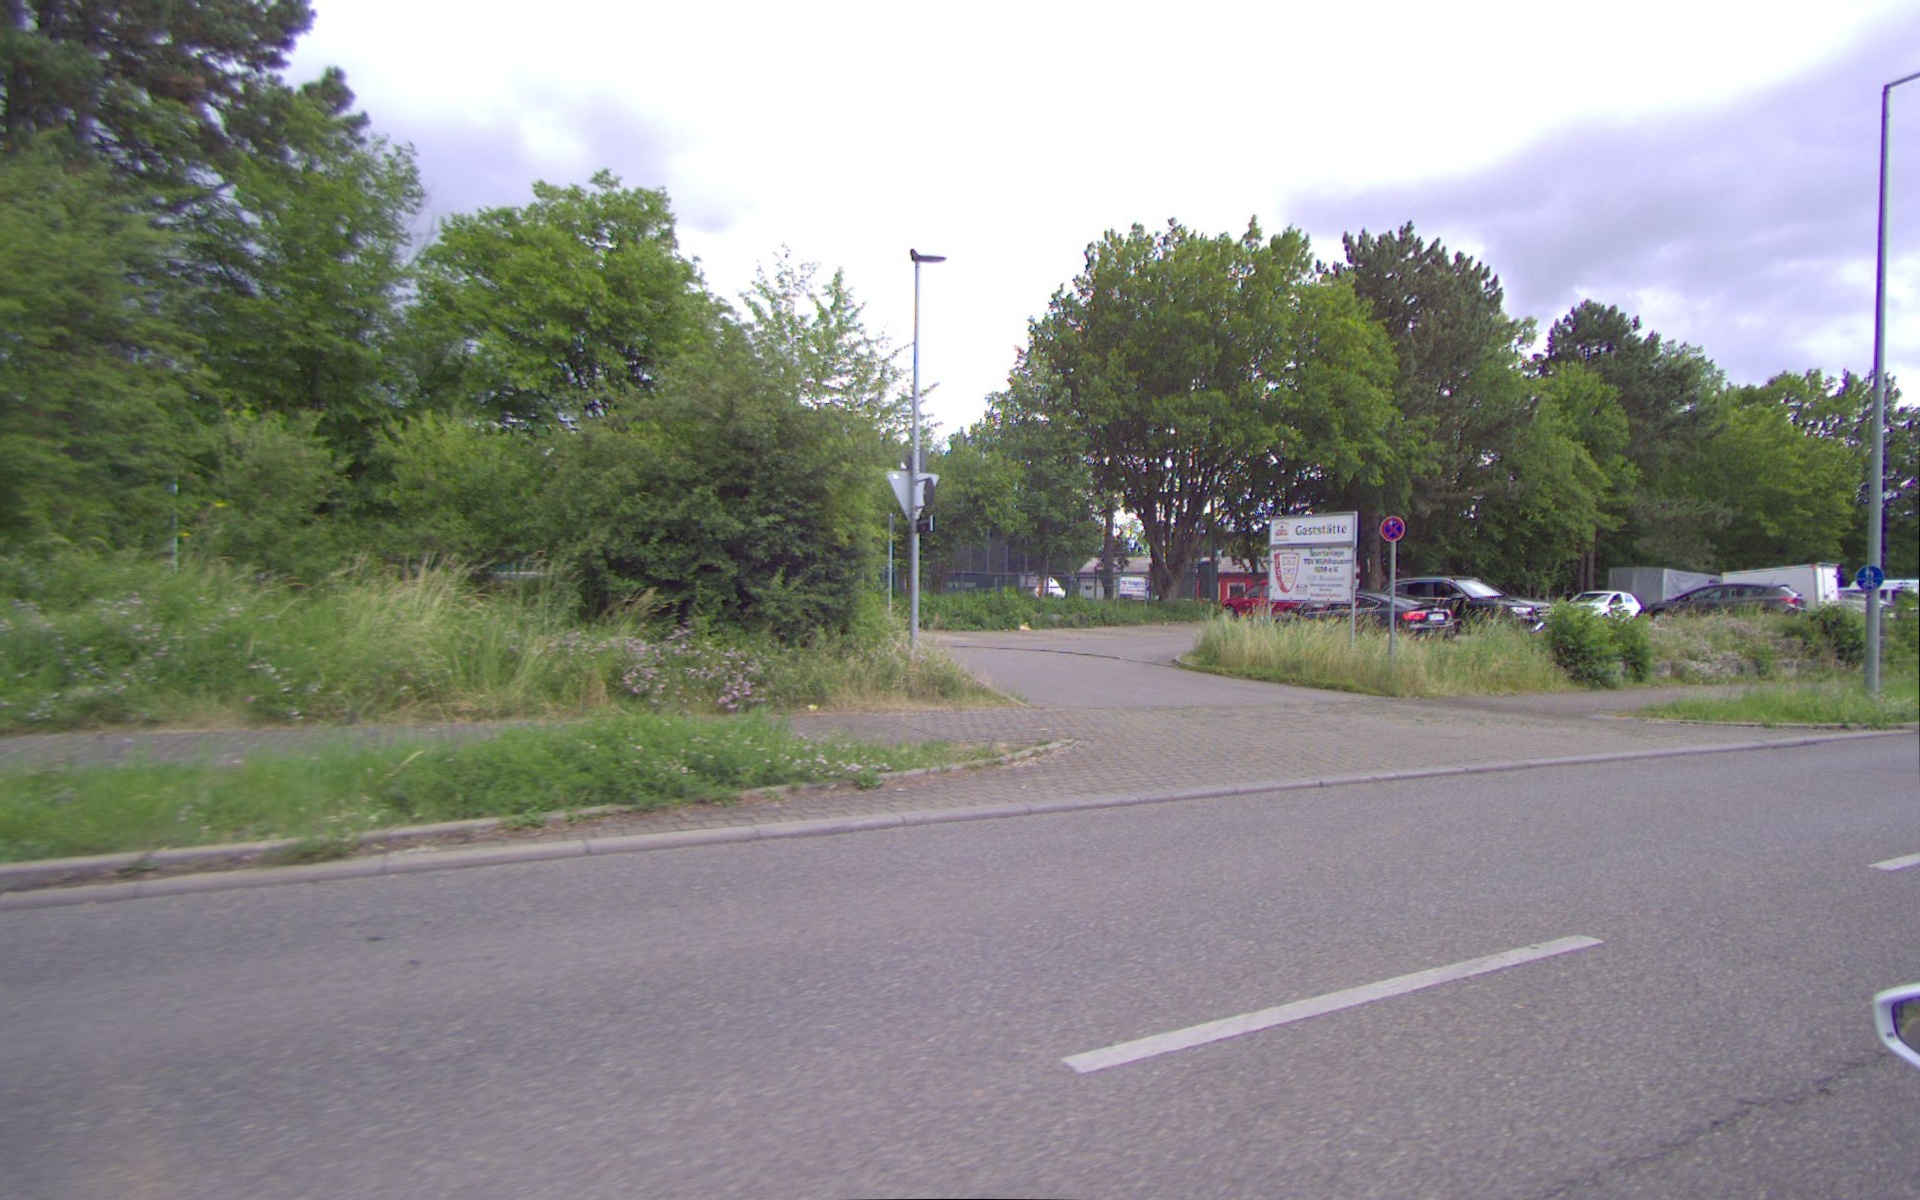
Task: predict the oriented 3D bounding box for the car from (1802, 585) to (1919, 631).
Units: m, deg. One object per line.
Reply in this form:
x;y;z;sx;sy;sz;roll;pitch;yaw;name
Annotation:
35.677;0.302;38.627;1.973;1.678;4.628;1;0;-25;car

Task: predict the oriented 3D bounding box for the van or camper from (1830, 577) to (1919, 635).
38.029;0.240;39.582;1.978;2.232;5.303;1;1;-32;van or camper

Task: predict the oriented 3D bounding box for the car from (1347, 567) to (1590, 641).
12.268;0.076;24.590;2.183;1.606;4.897;1;0;-33;car

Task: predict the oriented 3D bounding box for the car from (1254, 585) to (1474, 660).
8.488;0.422;21.388;1.980;1.416;3.929;1;0;-34;car

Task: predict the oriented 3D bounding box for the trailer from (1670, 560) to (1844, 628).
25.663;-0.182;32.470;1.885;2.040;3.969;1;0;-29;trailer

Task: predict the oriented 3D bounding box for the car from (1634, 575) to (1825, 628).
23.296;0.098;30.557;1.818;1.468;4.282;1;-2;-35;car

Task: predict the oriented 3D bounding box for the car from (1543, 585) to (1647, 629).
24.726;0.271;39.107;3.618;1.606;1.878;1;0;-28;car

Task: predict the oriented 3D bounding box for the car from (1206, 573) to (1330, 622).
11.314;-0.093;37.105;1.981;1.684;3.958;1;0;-37;car
